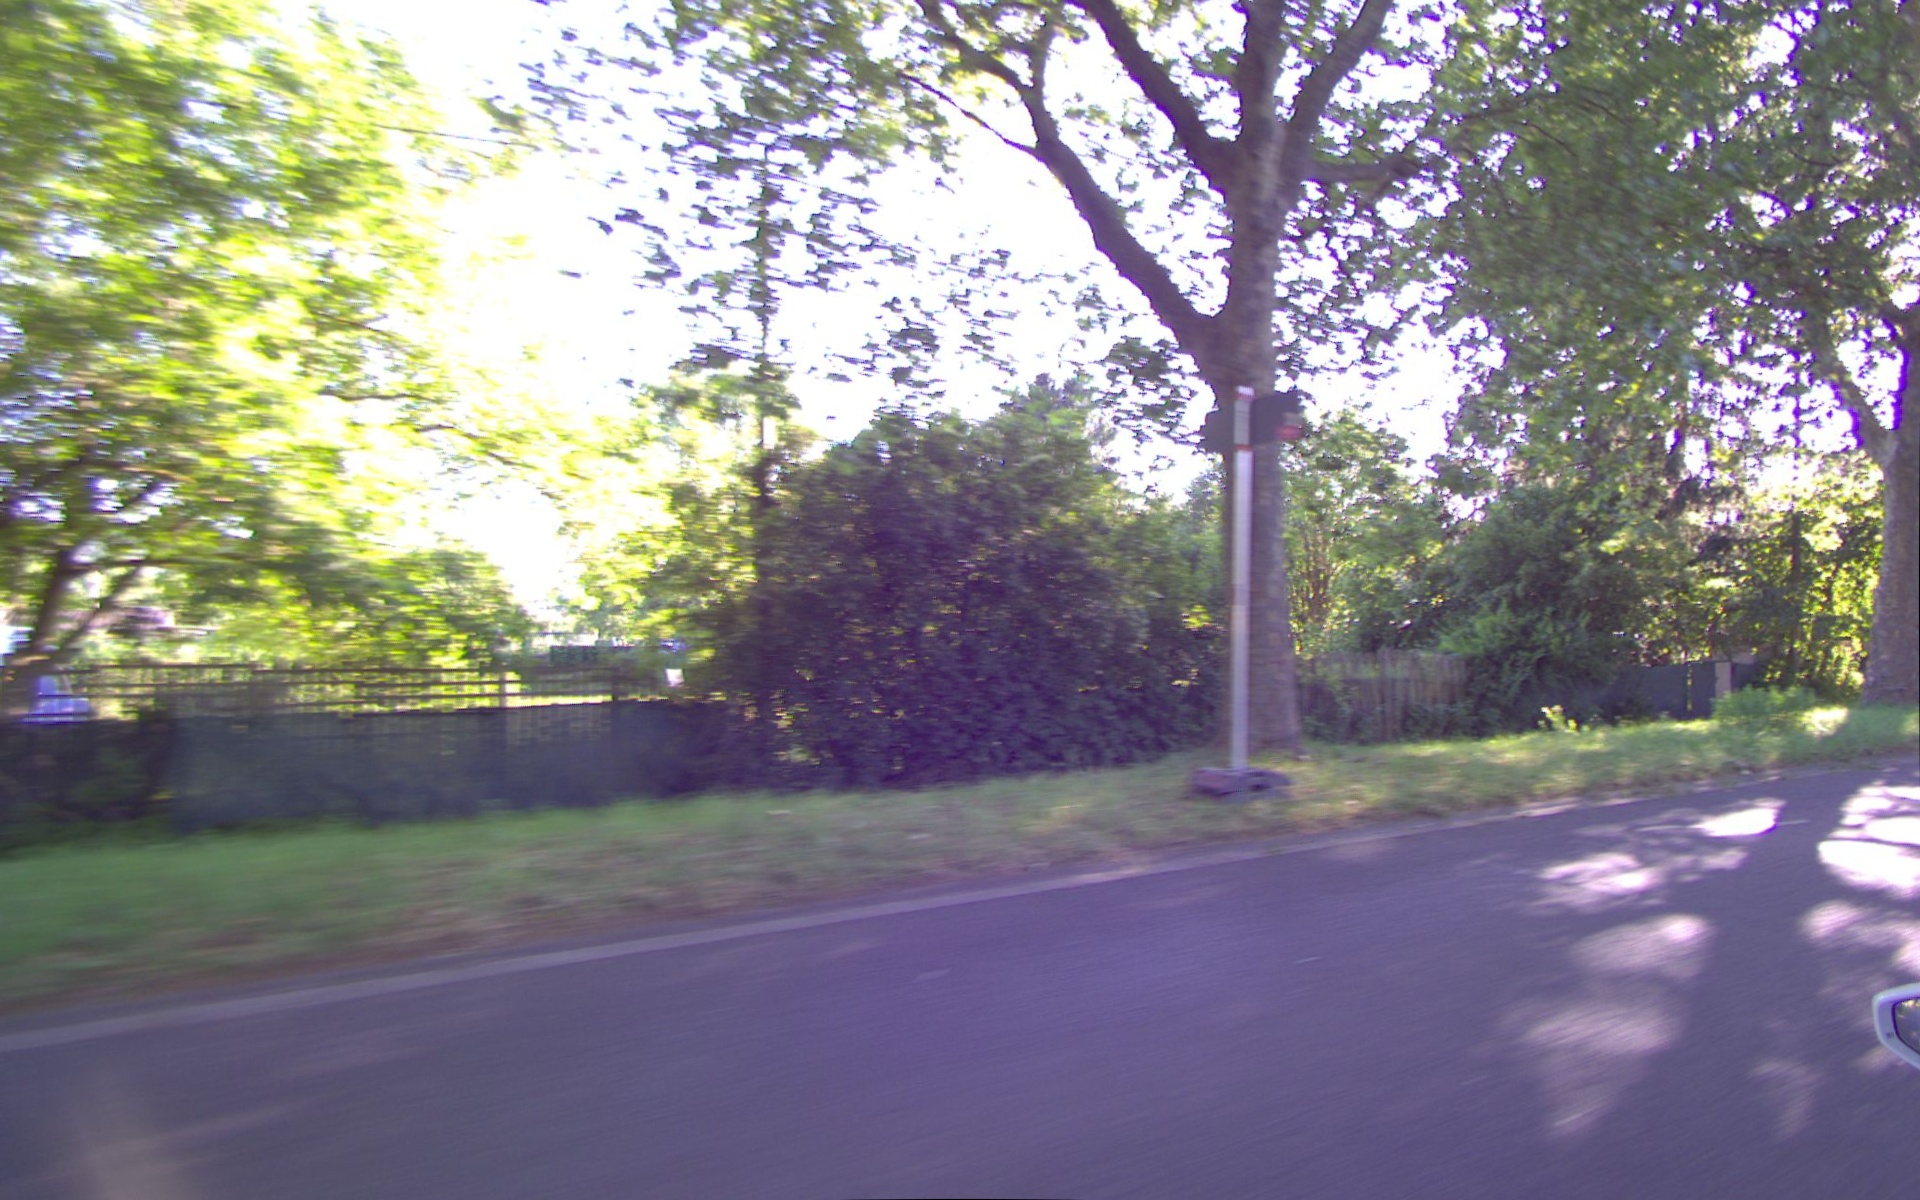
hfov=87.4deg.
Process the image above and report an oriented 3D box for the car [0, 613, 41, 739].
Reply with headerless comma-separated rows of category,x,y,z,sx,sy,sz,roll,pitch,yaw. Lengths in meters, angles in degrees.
car,-16.433,1.243,15.479,1.970,2.040,3.980,2,0,-21
